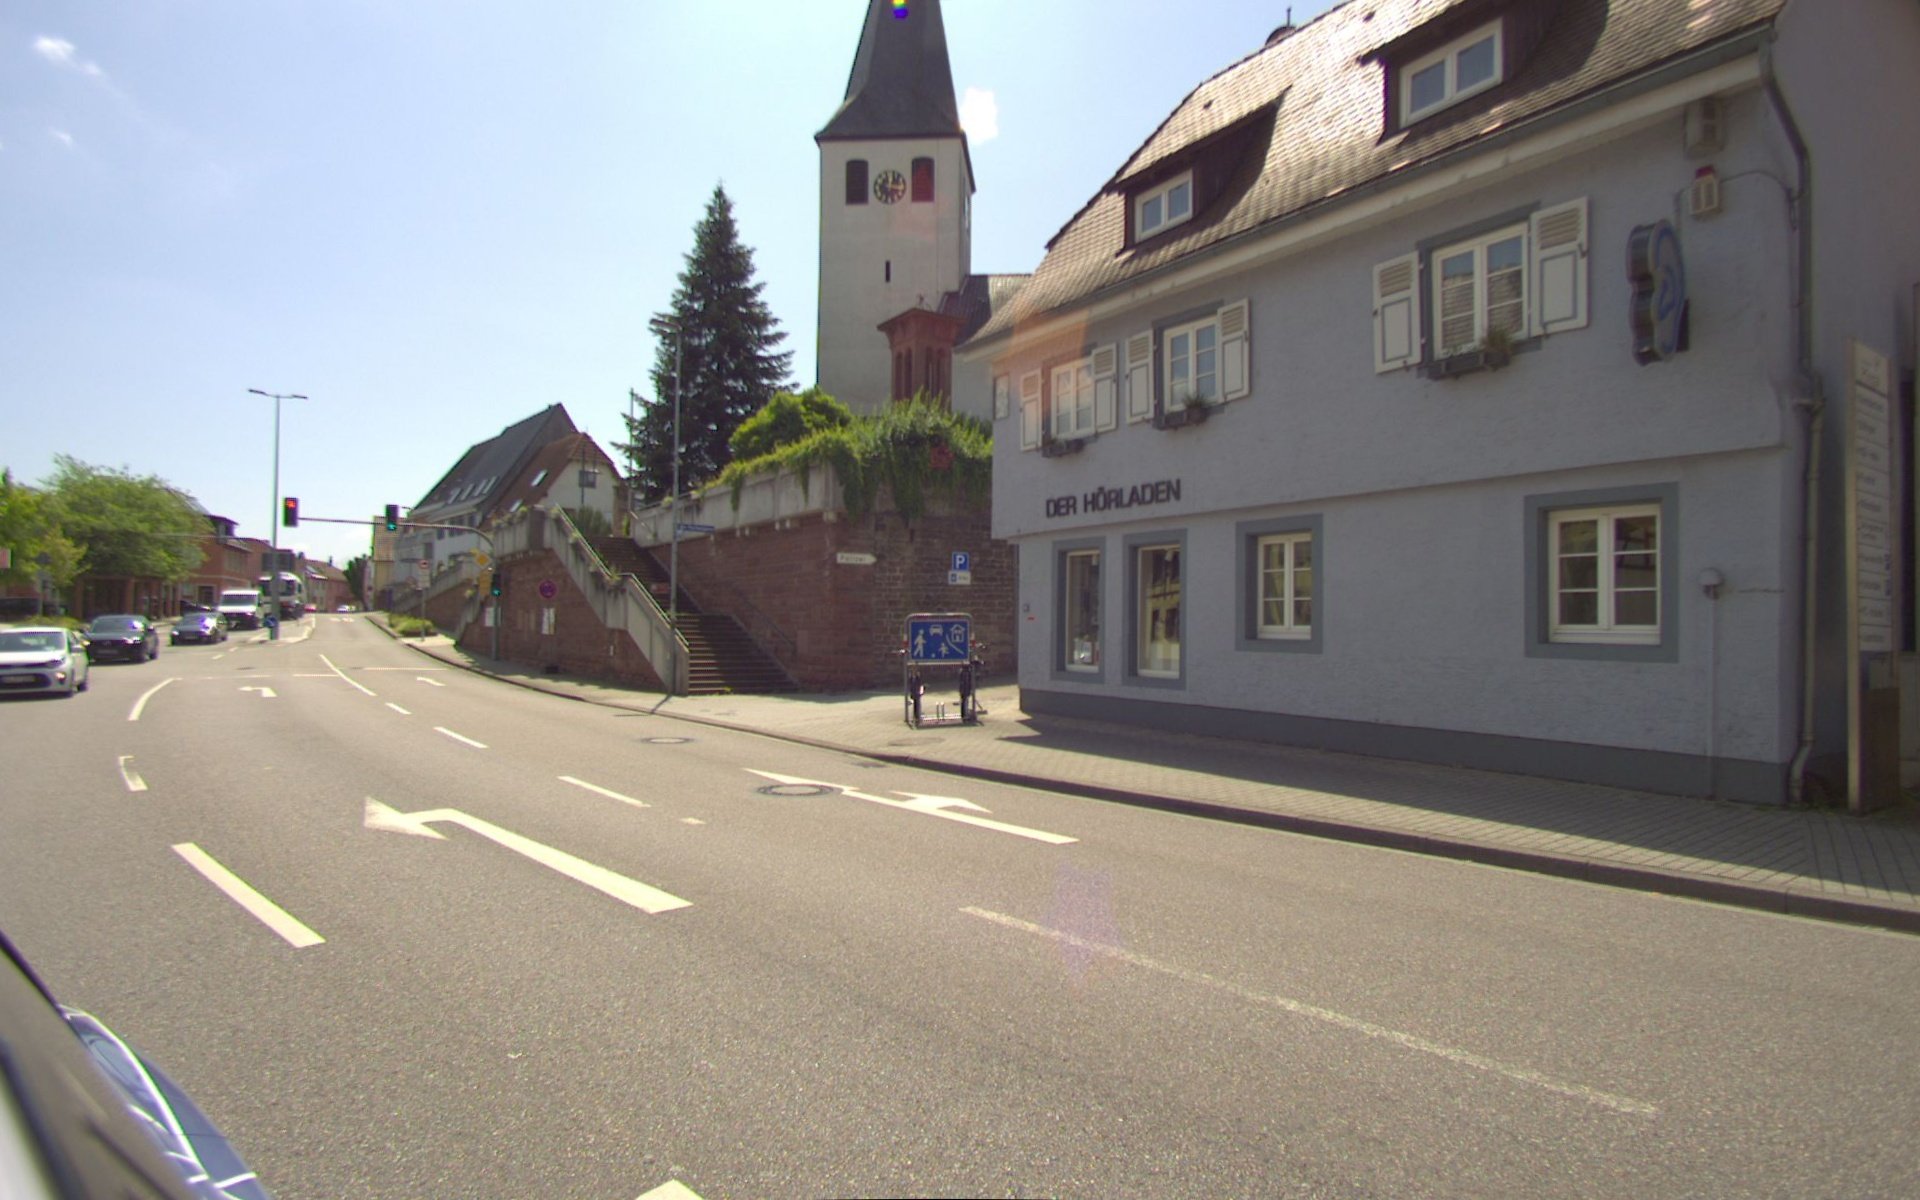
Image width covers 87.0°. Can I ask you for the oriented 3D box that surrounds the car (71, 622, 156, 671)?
[{"bbox_3d":[-29.764,1.579,35.688,1.696,1.562,4.316,0,-1,-32],"label":"car"}]

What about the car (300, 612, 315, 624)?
[{"bbox_3d":[-98.509,2.696,152.764,1.737,1.799,4.012,0,-1,-32],"label":"car"}]

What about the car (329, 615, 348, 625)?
[{"bbox_3d":[-99.740,3.217,162.404,1.978,1.643,4.592,1,-2,-24],"label":"car"}]

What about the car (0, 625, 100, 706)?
[{"bbox_3d":[-20.114,1.343,21.881,1.696,1.562,4.315,0,-1,-32],"label":"car"}]

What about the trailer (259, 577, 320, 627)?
[{"bbox_3d":[-52.282,0.288,79.141,2.791,3.597,11.000,1,-2,-27],"label":"trailer"}]

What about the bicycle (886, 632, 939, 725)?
[{"bbox_3d":[-0.702,1.162,15.512,0.571,1.258,1.829,-3,0,3],"label":"bicycle"}]

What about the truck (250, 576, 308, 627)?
[{"bbox_3d":[-49.332,0.189,73.448,2.801,3.597,5.485,1,-2,-28],"label":"truck"}]

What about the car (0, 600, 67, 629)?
[{"bbox_3d":[-59.232,0.914,64.201,3.701,1.723,1.729,-1,0,-35],"label":"car"}]

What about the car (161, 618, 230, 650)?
[{"bbox_3d":[-36.696,1.602,48.709,1.897,1.376,4.317,0,-1,-27],"label":"car"}]

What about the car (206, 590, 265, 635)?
[{"bbox_3d":[-43.313,0.776,60.621,2.139,2.583,4.840,1,-2,-27],"label":"car"}]

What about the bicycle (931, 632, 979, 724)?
[{"bbox_3d":[-0.059,1.158,15.538,0.571,1.258,1.829,-3,0,3],"label":"bicycle"}]
